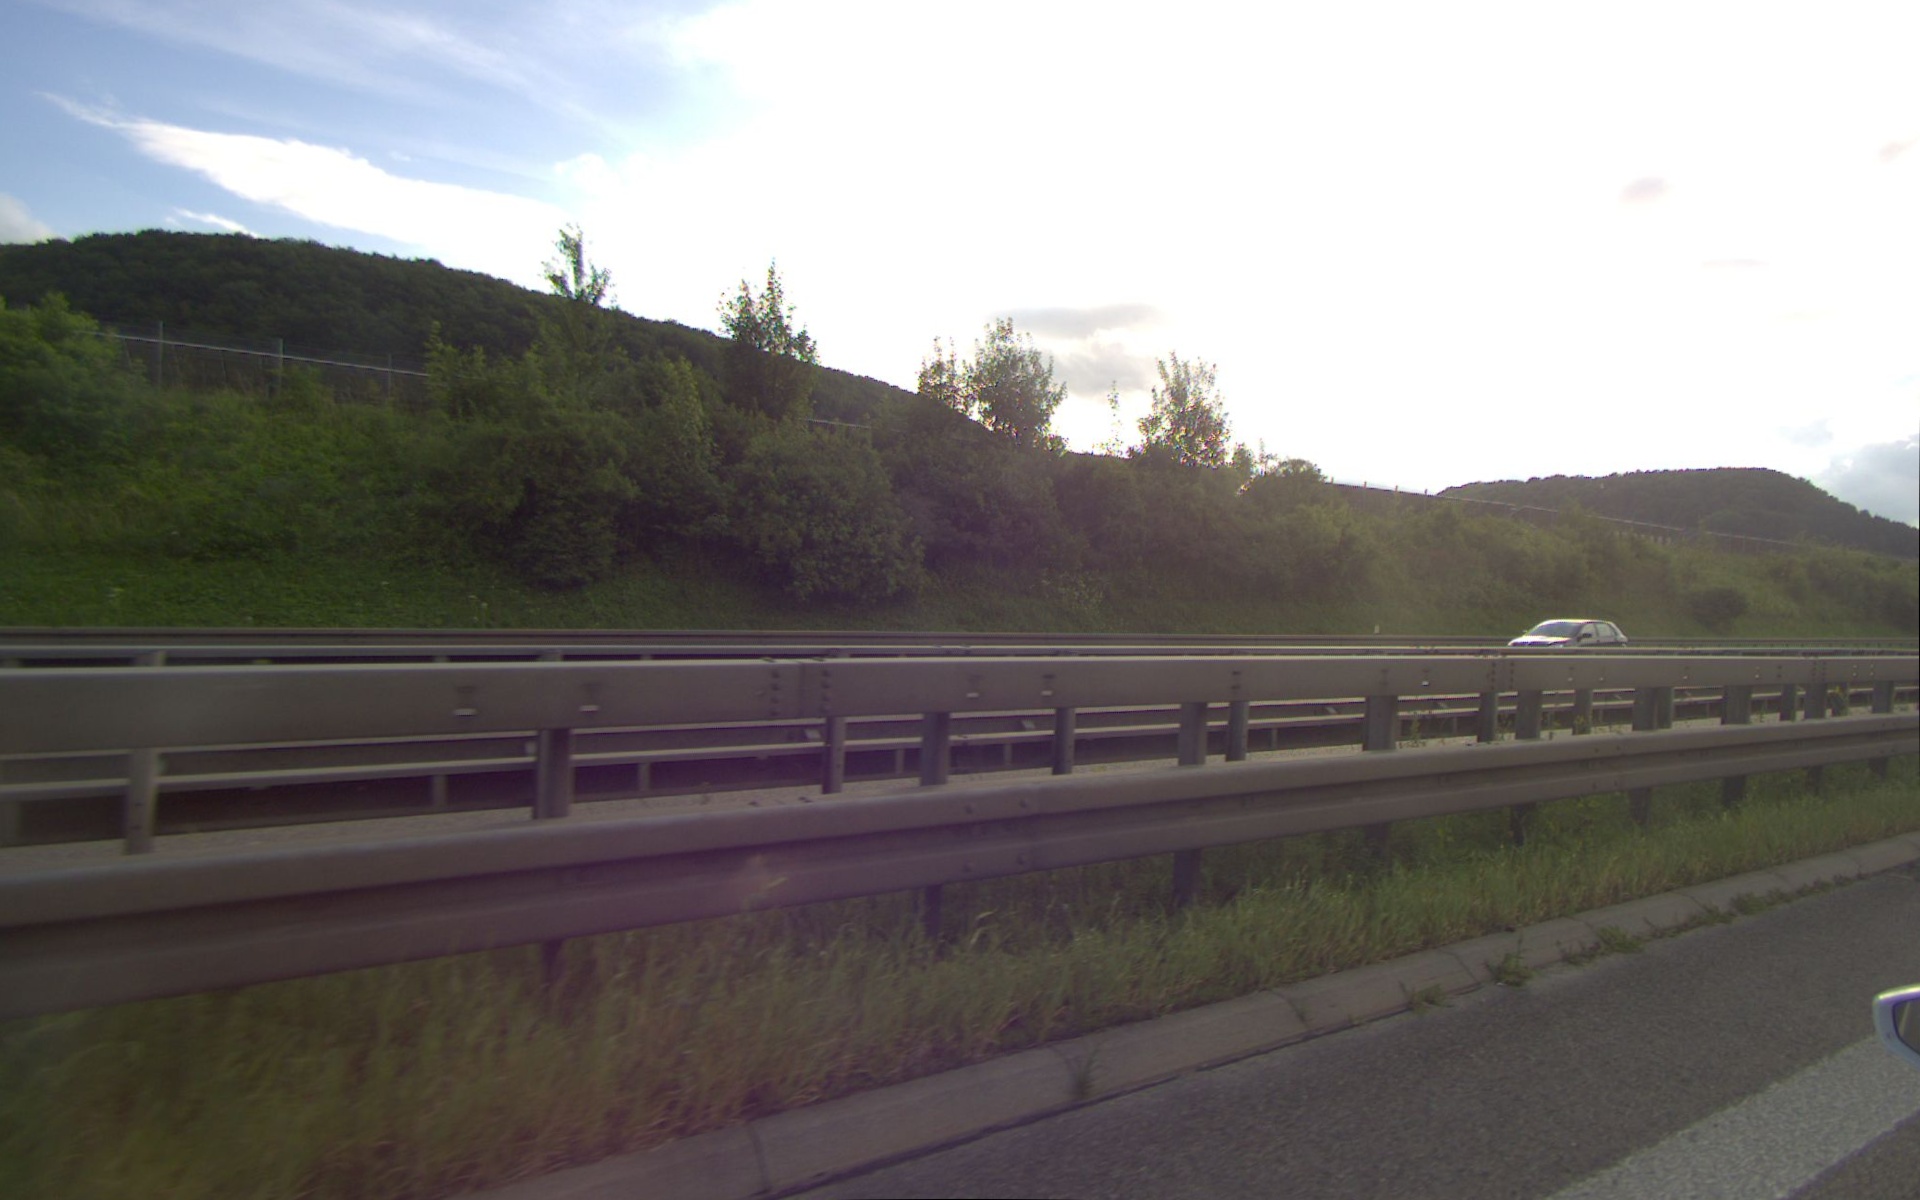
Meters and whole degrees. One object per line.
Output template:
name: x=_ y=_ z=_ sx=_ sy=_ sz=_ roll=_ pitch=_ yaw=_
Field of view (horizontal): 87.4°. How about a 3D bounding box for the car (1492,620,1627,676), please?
car: x=17.088 y=1.342 z=28.597 sx=3.956 sy=1.434 sz=1.697 roll=2 pitch=0 yaw=-32
